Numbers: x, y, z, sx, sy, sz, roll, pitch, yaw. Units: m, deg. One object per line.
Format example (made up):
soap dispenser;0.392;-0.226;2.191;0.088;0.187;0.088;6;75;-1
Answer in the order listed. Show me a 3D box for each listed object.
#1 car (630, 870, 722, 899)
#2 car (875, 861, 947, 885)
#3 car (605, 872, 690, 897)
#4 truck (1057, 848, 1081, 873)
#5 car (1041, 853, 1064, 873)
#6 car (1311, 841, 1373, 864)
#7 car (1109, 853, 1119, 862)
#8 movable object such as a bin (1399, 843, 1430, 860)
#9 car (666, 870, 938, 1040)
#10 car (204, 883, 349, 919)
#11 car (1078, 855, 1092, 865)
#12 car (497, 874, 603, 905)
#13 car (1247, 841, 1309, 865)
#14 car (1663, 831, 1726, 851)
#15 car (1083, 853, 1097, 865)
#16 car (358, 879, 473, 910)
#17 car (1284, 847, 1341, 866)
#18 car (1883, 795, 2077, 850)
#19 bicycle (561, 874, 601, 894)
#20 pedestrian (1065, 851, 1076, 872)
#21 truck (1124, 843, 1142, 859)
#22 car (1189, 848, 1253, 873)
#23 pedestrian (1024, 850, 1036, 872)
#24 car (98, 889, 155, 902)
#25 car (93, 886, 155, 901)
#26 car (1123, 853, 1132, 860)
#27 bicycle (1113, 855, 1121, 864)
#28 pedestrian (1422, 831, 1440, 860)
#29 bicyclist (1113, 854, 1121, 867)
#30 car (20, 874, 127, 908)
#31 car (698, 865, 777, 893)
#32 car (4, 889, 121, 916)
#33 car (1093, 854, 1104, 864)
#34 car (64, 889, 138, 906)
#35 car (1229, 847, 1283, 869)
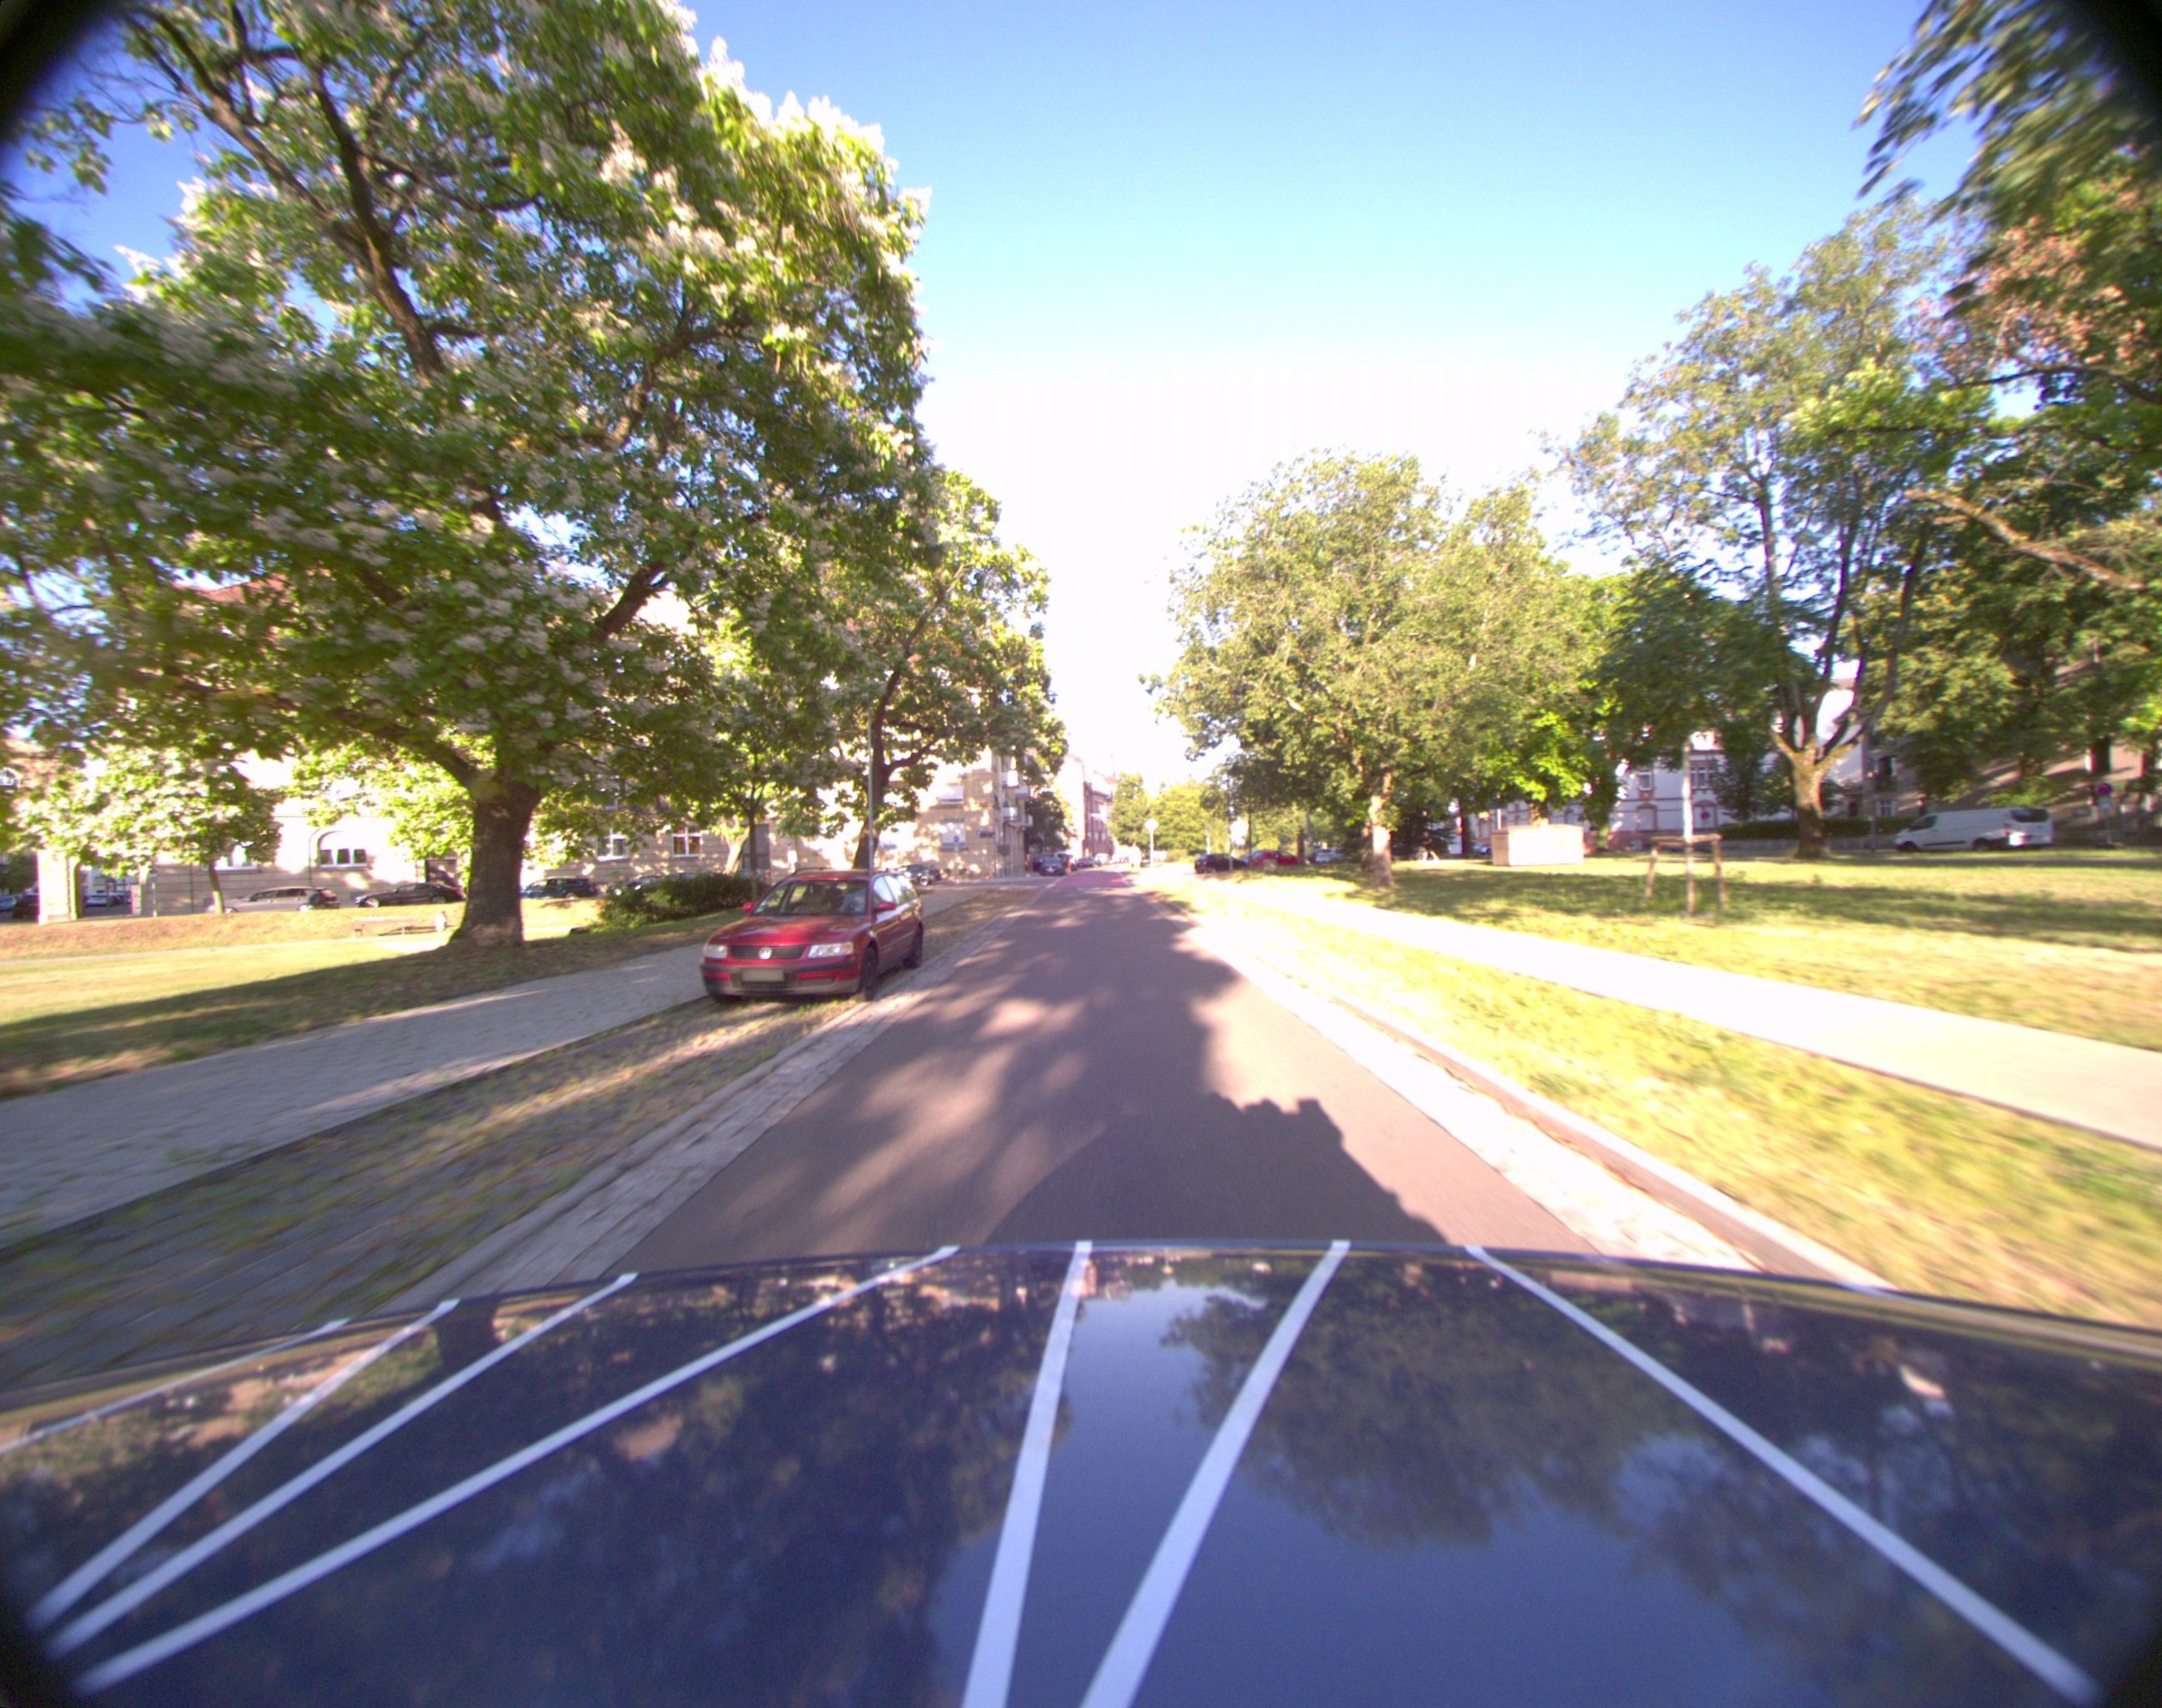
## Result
car;-23.108;1.698;43.514;4.370;1.409;1.842;-2;1;-19
car;-11.488;1.250;51.490;4.452;1.411;1.935;-2;1;-4
car;-27.457;1.920;48.305;4.458;1.316;1.502;-2;1;-21
truck;-1.298;0.676;85.331;2.133;2.549;6.877;-2;1;3
car;-2.328;0.719;63.245;1.707;1.616;4.349;0;-1;1
car;19.421;-0.146;56.531;4.003;1.565;1.887;-3;2;-20
car;6.338;0.633;145.937;1.582;1.499;3.848;-2;1;7
movable object such as a bin;19.747;-0.145;45.010;1.333;0.984;0.949;-2;1;-3
car;-3.182;1.043;9.850;1.682;1.477;4.809;-2;1;0
car;-38.543;2.219;36.564;4.377;1.409;1.815;-2;1;-29
car;0.560;0.829;108.727;1.610;1.349;3.549;-2;1;7
car;-28.785;1.890;41.368;4.443;1.409;1.564;-2;1;-23
car;14.191;-0.083;54.701;4.004;1.565;1.887;-3;2;-24
car;54.000;-1.144;66.903;3.997;1.565;1.890;-2;2;1
car;1.414;0.739;114.189;1.610;1.608;3.952;-2;1;7
car;-38.138;2.283;43.706;4.657;1.409;1.815;-2;1;-30
car;19.135;0.171;62.881;4.280;1.392;1.836;-2;1;-21
car;39.291;-1.292;33.474;2.676;2.101;4.969;-3;0;1
bicycle;-33.200;1.971;50.452;2.126;1.223;0.613;-2;1;-23
pedestrian;-0.886;0.607;64.937;0.778;1.759;0.955;-3;0;2
truck;11.917;-0.729;173.158;3.018;3.423;7.629;-2;1;12
car;9.774;0.432;52.962;4.004;1.565;1.887;-3;2;-24
pedestrian;-4.322;0.618;64.244;0.733;1.819;0.555;-3;1;-35
car;-121.867;5.282;97.066;1.814;1.409;4.380;-1;1;41
car;-111.773;4.626;88.793;1.814;1.409;4.380;-1;1;41
car;9.949;0.511;163.656;1.582;1.499;3.849;-2;1;8
bicycle;4.703;0.700;99.469;0.739;1.129;2.105;-2;0;7
pedestrian;20.733;-0.501;45.052;0.663;1.686;0.672;-3;0;-2
bicyclist;4.720;0.825;99.547;0.939;1.693;0.906;-2;1;7
car;-69.977;2.514;52.895;1.814;2.096;4.380;-1;1;38
car;-22.421;1.634;49.814;4.456;1.590;1.800;-2;1;-17
car;-65.250;3.066;48.768;1.814;1.409;4.380;-1;1;36
car;2.879;0.795;124.476;1.509;1.437;3.731;-2;1;7
car;-98.289;4.326;76.279;1.814;1.409;4.380;-1;1;41
car;14.060;0.292;60.927;3.851;1.622;1.836;-2;1;-23
